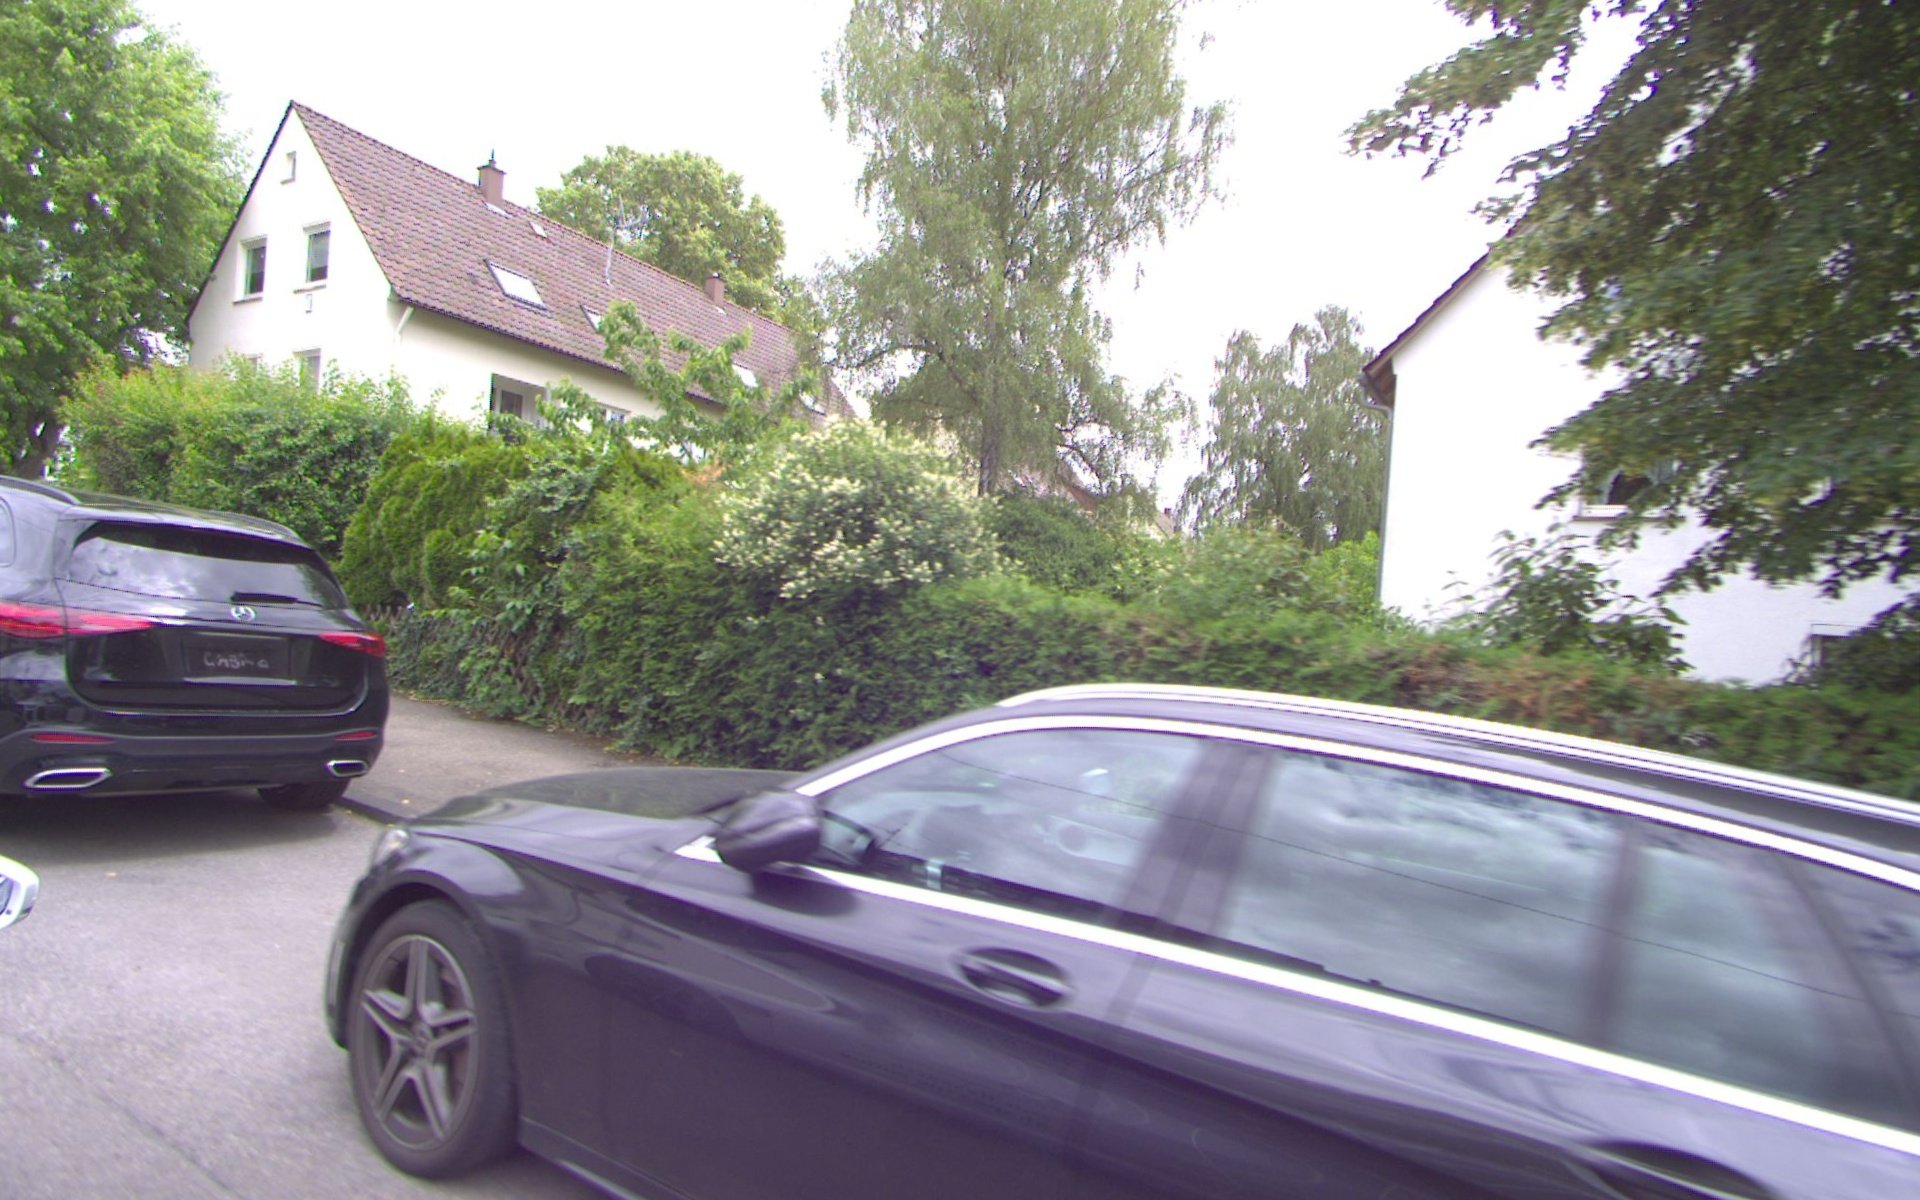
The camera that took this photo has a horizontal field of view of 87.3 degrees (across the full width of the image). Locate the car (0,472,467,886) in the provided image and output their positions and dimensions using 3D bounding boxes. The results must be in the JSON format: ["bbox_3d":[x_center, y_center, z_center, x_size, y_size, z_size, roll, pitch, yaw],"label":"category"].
[{"bbox_3d":[-5.251,0.205,5.860,4.462,1.634,1.998,6,-2,30],"label":"car"}]

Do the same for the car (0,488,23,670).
[{"bbox_3d":[-10.220,-0.376,8.655,4.462,1.634,1.815,6,-2,30],"label":"car"}]

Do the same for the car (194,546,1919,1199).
[{"bbox_3d":[0.255,0.856,2.691,4.542,1.496,1.996,6,0,30],"label":"car"}]
